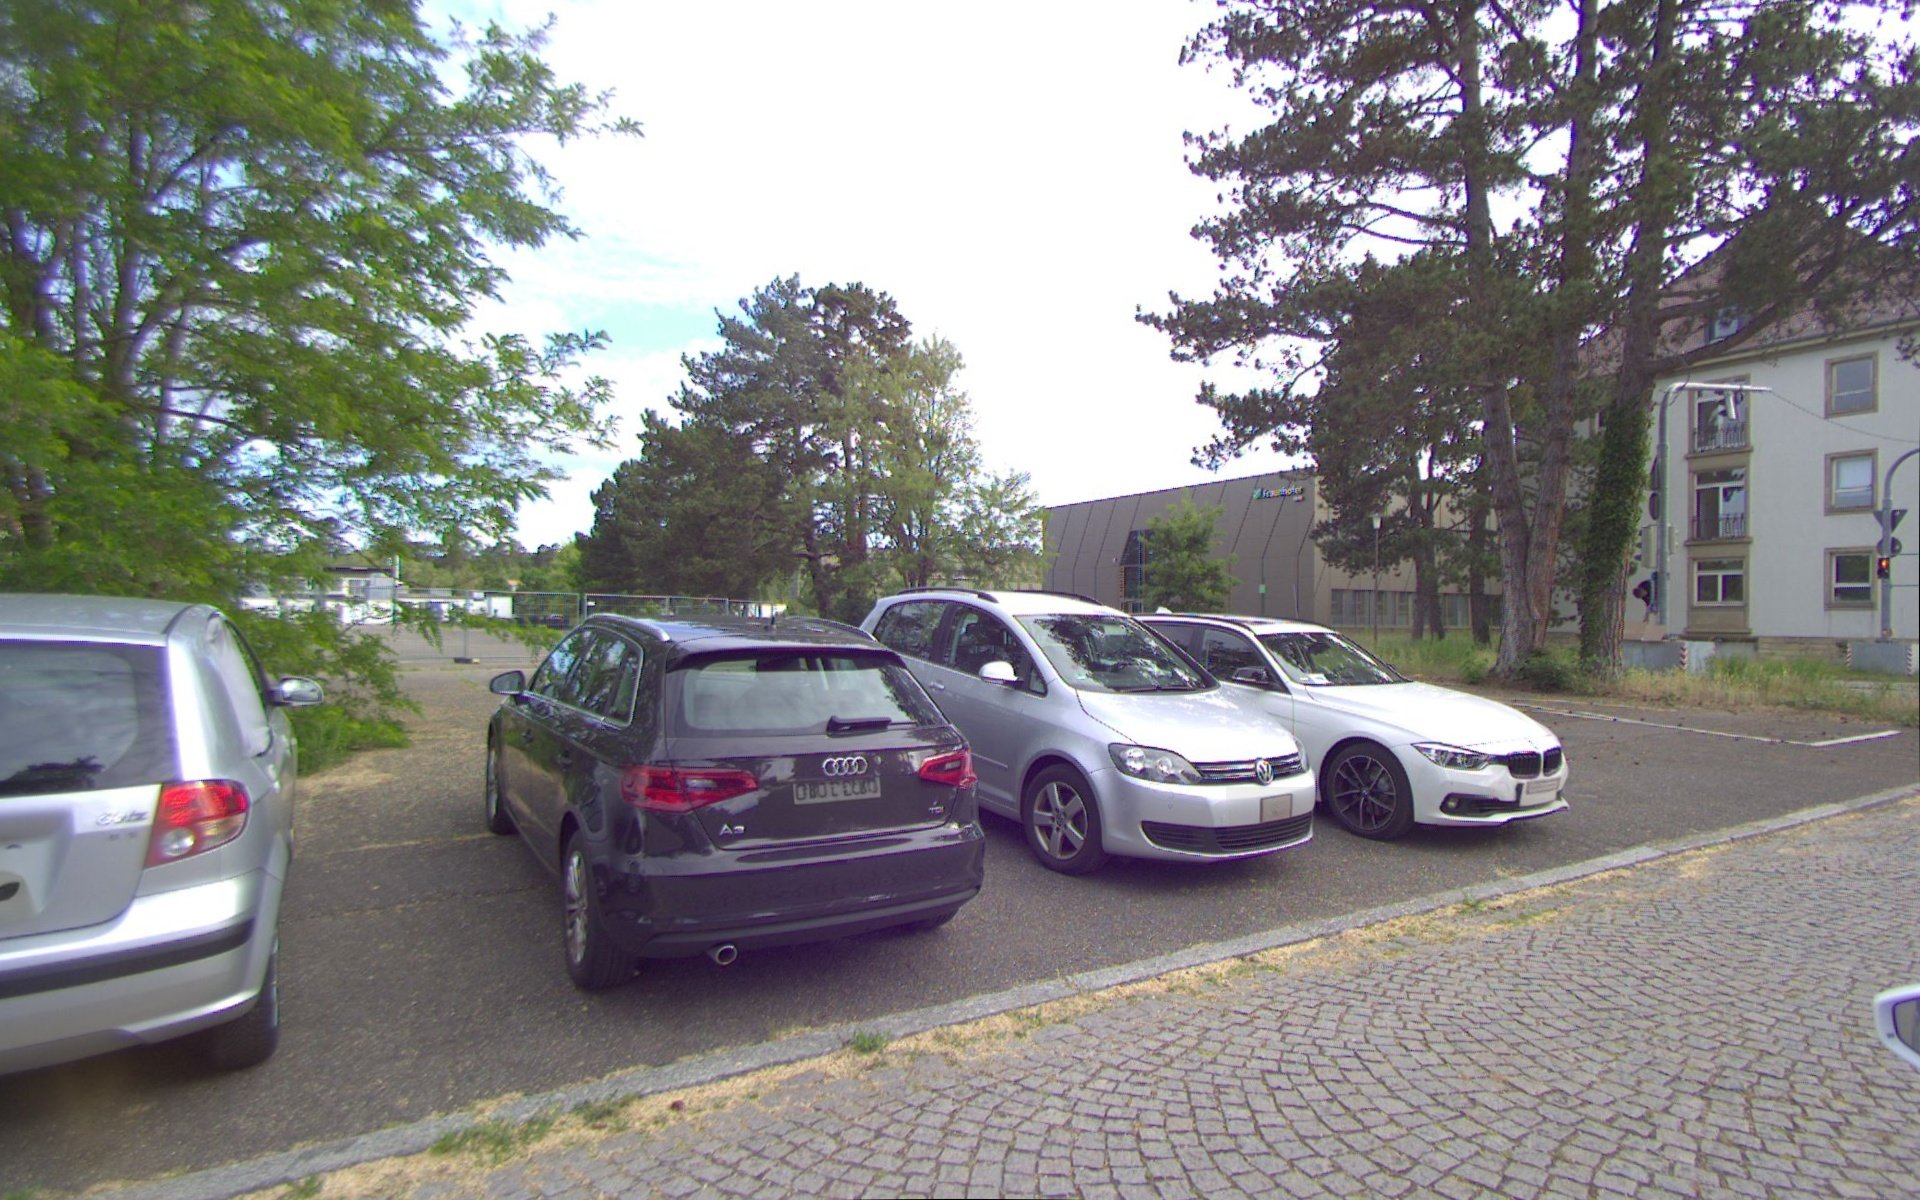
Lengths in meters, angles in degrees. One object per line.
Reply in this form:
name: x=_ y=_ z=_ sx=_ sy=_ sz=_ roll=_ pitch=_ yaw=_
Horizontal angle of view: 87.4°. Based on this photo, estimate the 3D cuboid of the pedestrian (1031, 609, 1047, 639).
pedestrian: x=5.422 y=1.628 z=68.977 sx=0.886 sy=2.040 sz=0.919 roll=1 pitch=-1 yaw=-12

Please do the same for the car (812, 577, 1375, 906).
car: x=0.620 y=0.679 z=7.095 sx=1.707 sy=1.568 sz=3.961 roll=1 pitch=2 yaw=-34

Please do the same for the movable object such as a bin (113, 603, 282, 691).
movable object such as a bin: x=-11.144 y=0.647 z=14.842 sx=1.480 sy=1.176 sz=2.384 roll=1 pitch=-1 yaw=-25

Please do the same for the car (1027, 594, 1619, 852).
car: x=2.699 y=0.763 z=8.637 sx=1.783 sy=1.463 sz=4.618 roll=1 pitch=1 yaw=-34

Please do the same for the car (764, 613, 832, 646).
car: x=-7.413 y=1.308 z=45.759 sx=1.678 sy=1.410 sz=3.965 roll=1 pitch=-1 yaw=-32

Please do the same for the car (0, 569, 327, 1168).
car: x=-3.641 y=0.654 z=3.964 sx=1.790 sy=1.472 sz=3.654 roll=1 pitch=2 yaw=-34

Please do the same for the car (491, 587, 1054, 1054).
car: x=-1.377 y=0.729 z=5.478 sx=1.731 sy=1.447 sz=3.966 roll=1 pitch=2 yaw=-31
